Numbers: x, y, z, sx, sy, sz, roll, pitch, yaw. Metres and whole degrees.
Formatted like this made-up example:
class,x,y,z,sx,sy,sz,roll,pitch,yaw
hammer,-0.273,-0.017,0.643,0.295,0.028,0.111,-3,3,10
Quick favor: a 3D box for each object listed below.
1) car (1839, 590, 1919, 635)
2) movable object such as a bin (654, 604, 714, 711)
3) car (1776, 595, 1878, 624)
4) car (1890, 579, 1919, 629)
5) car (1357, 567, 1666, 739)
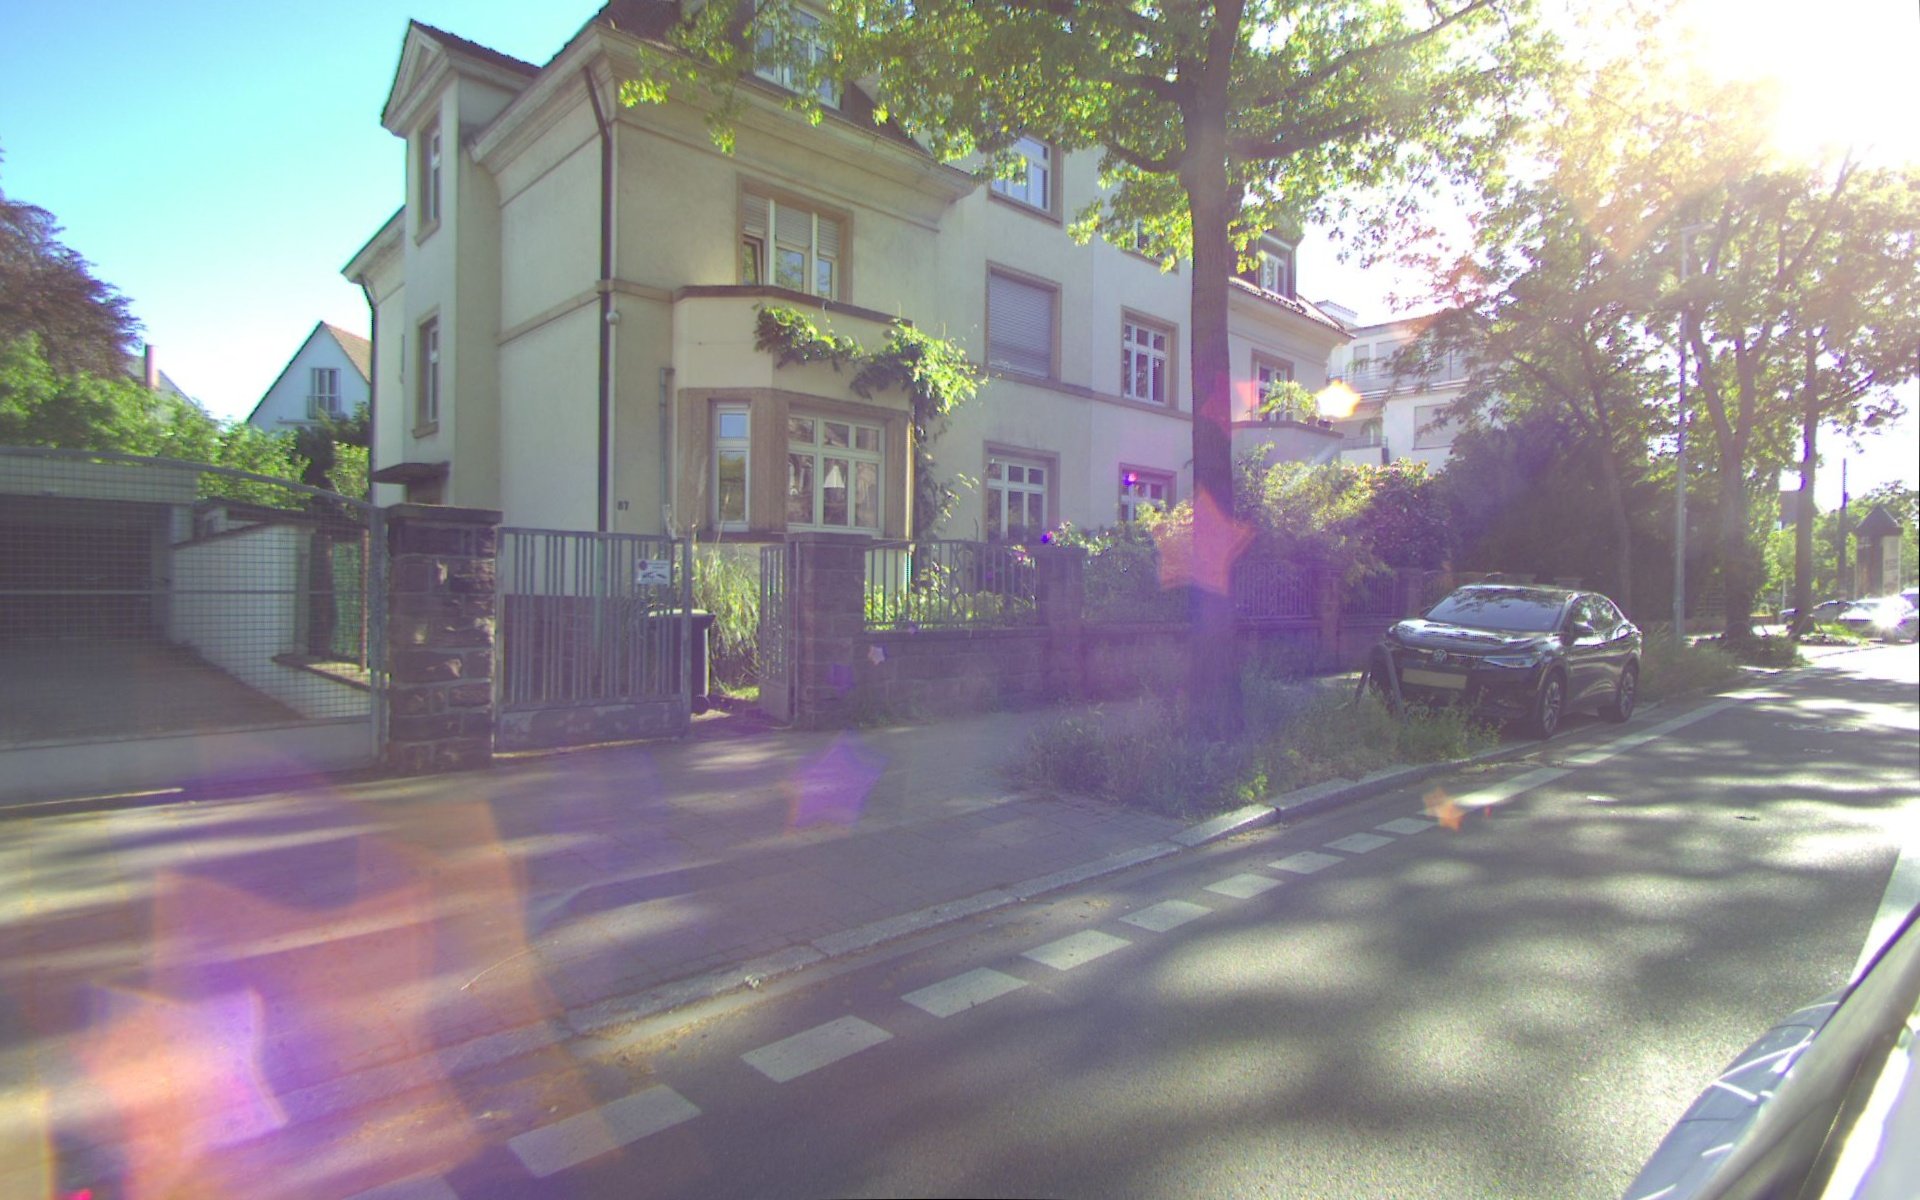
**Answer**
class,x,y,z,sx,sy,sz,roll,pitch,yaw
car,31.519,0.383,34.266,4.181,1.427,1.901,0,1,-38
movable object such as a bin,-2.919,0.585,10.668,0.551,1.062,0.676,0,0,-20
car,46.076,0.461,53.829,1.784,1.459,3.990,0,1,-44
car,36.679,0.130,37.847,4.580,1.808,1.903,0,1,-35
car,6.713,0.495,12.132,4.186,1.619,1.917,0,4,-42
